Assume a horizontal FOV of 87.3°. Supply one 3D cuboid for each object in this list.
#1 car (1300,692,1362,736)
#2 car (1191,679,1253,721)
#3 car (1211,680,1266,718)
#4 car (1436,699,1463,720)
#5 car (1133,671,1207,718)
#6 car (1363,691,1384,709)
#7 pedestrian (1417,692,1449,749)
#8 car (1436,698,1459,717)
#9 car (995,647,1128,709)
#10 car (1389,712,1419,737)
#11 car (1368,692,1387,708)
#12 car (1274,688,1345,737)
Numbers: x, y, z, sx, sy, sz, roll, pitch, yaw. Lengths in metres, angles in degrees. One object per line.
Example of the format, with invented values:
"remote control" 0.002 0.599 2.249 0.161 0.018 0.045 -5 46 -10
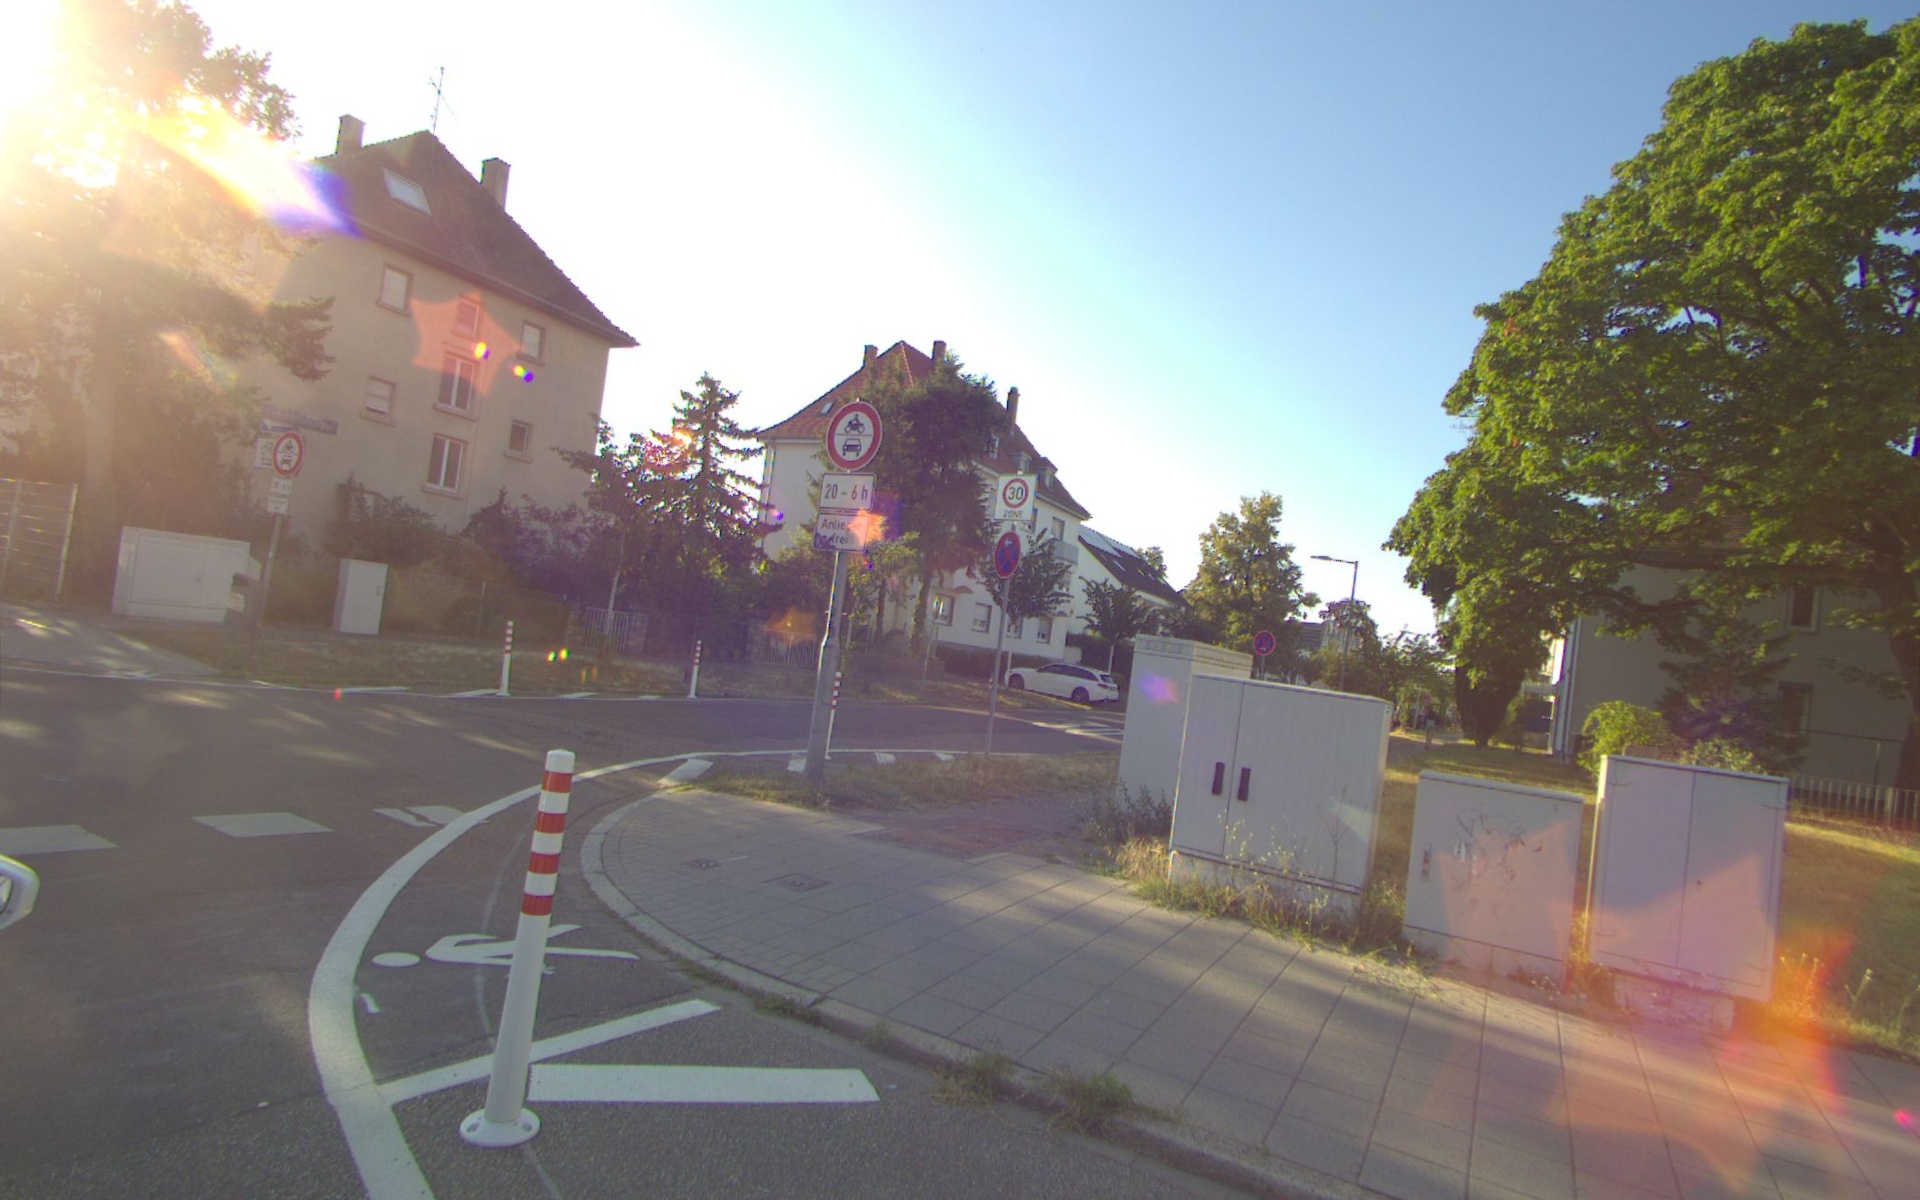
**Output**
"car" 16.891 5.175 45.700 1.938 1.632 4.245 6 -3 29
"car" 12.537 4.779 47.912 1.937 1.632 4.248 6 -3 26
"car" 14.753 5.237 53.089 1.937 1.632 4.248 6 -3 26
"car" 44.953 10.048 92.386 1.938 1.632 4.245 6 -3 29
"car" 8.886 3.982 42.343 1.937 1.632 4.248 6 -3 26
"car" 49.300 11.967 119.996 1.937 1.795 4.248 6 -3 26
"pedestrian" 18.066 4.604 38.439 0.883 2.037 0.692 6 -2 28
"car" 51.667 11.394 106.574 1.938 1.632 4.245 6 -3 29
"car" 4.073 3.128 40.389 4.754 1.632 1.971 8 -1 28
"car" 35.355 9.914 80.128 1.937 1.632 4.248 6 -3 26
"car" 54.849 13.108 132.088 1.937 1.795 4.248 6 -3 26
"car" 14.203 4.541 40.705 1.938 1.632 4.245 6 -3 29
